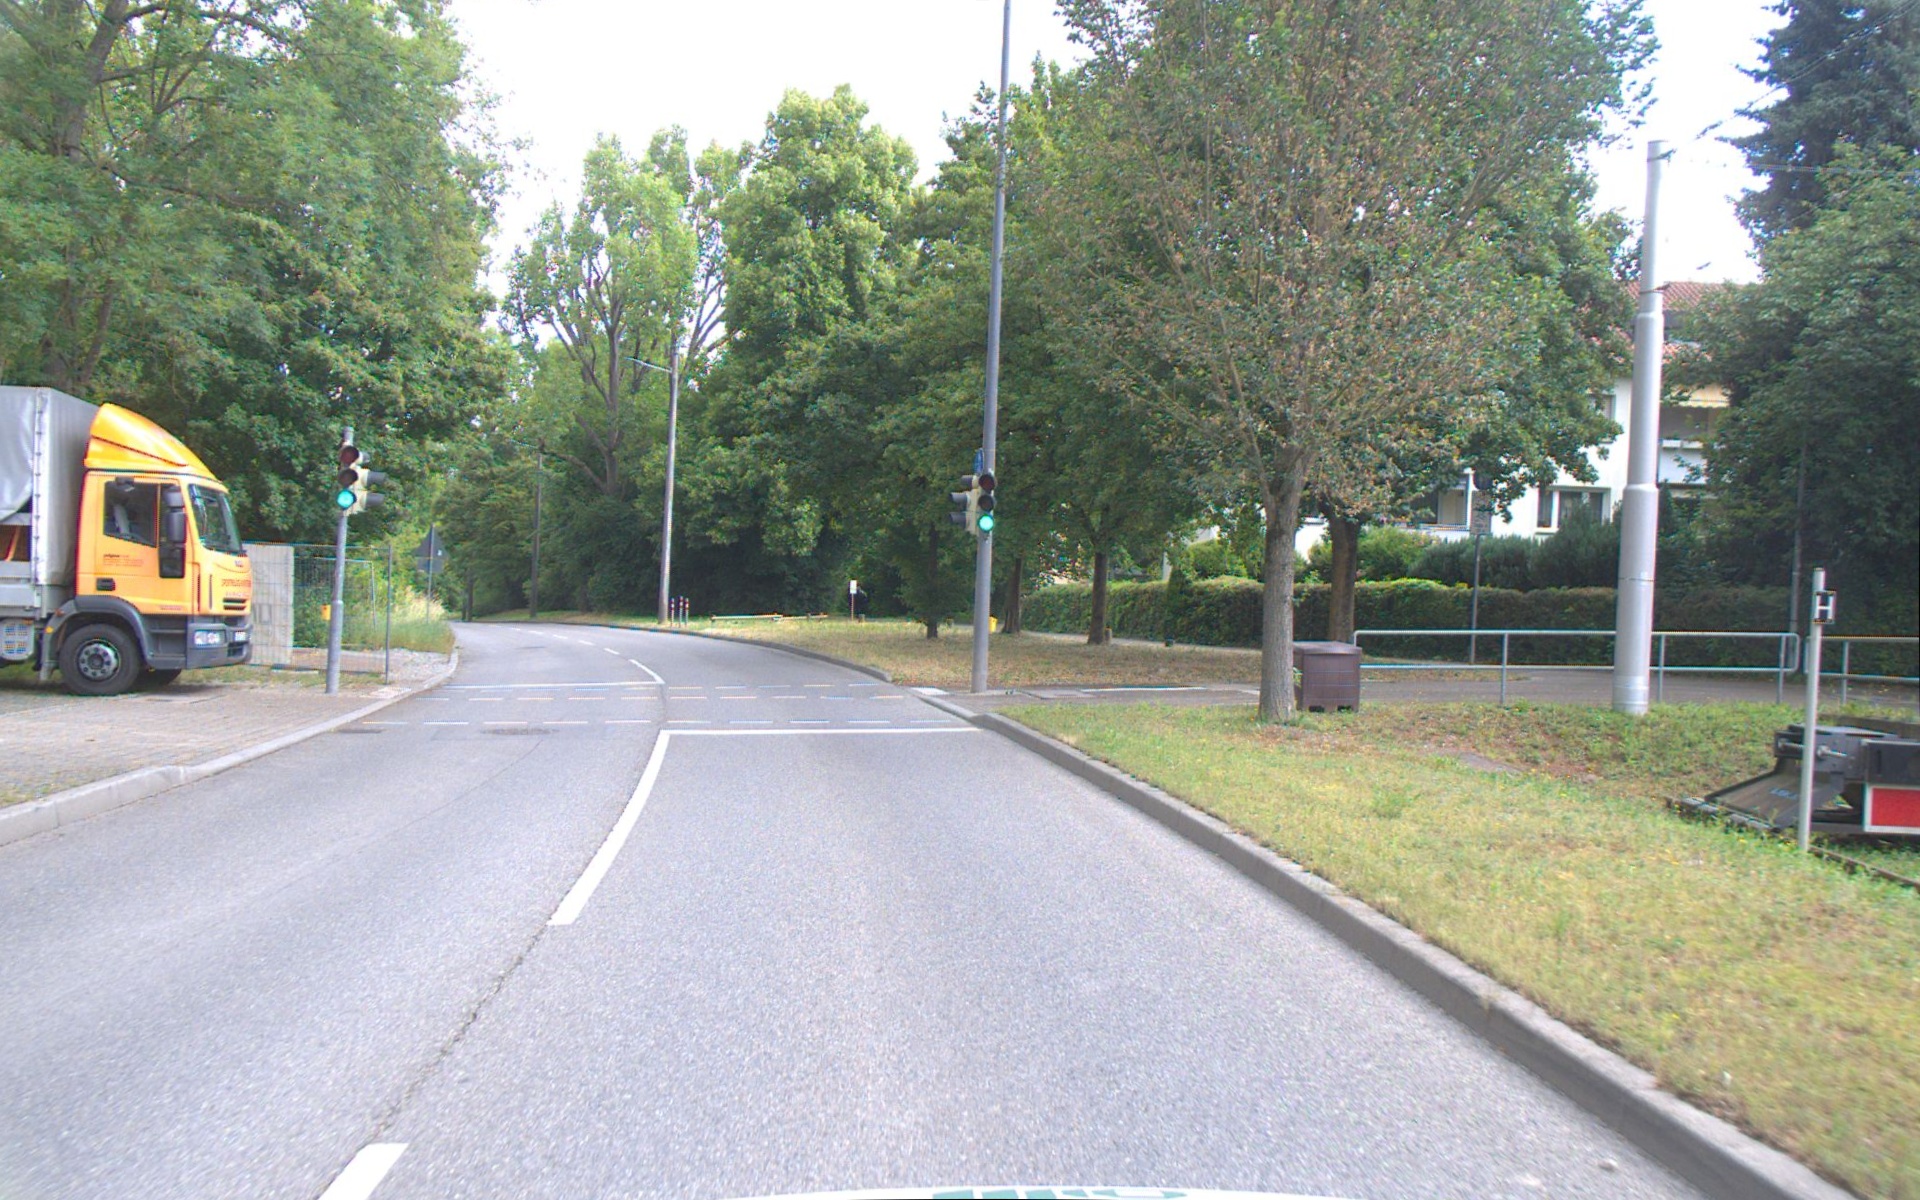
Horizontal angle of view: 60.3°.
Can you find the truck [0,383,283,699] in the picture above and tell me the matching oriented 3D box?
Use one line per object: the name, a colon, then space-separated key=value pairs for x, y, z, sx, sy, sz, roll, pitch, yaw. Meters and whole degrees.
truck: x=-13.383 y=-0.797 z=20.076 sx=9.062 sy=3.593 sz=2.559 roll=2 pitch=-1 yaw=-10
